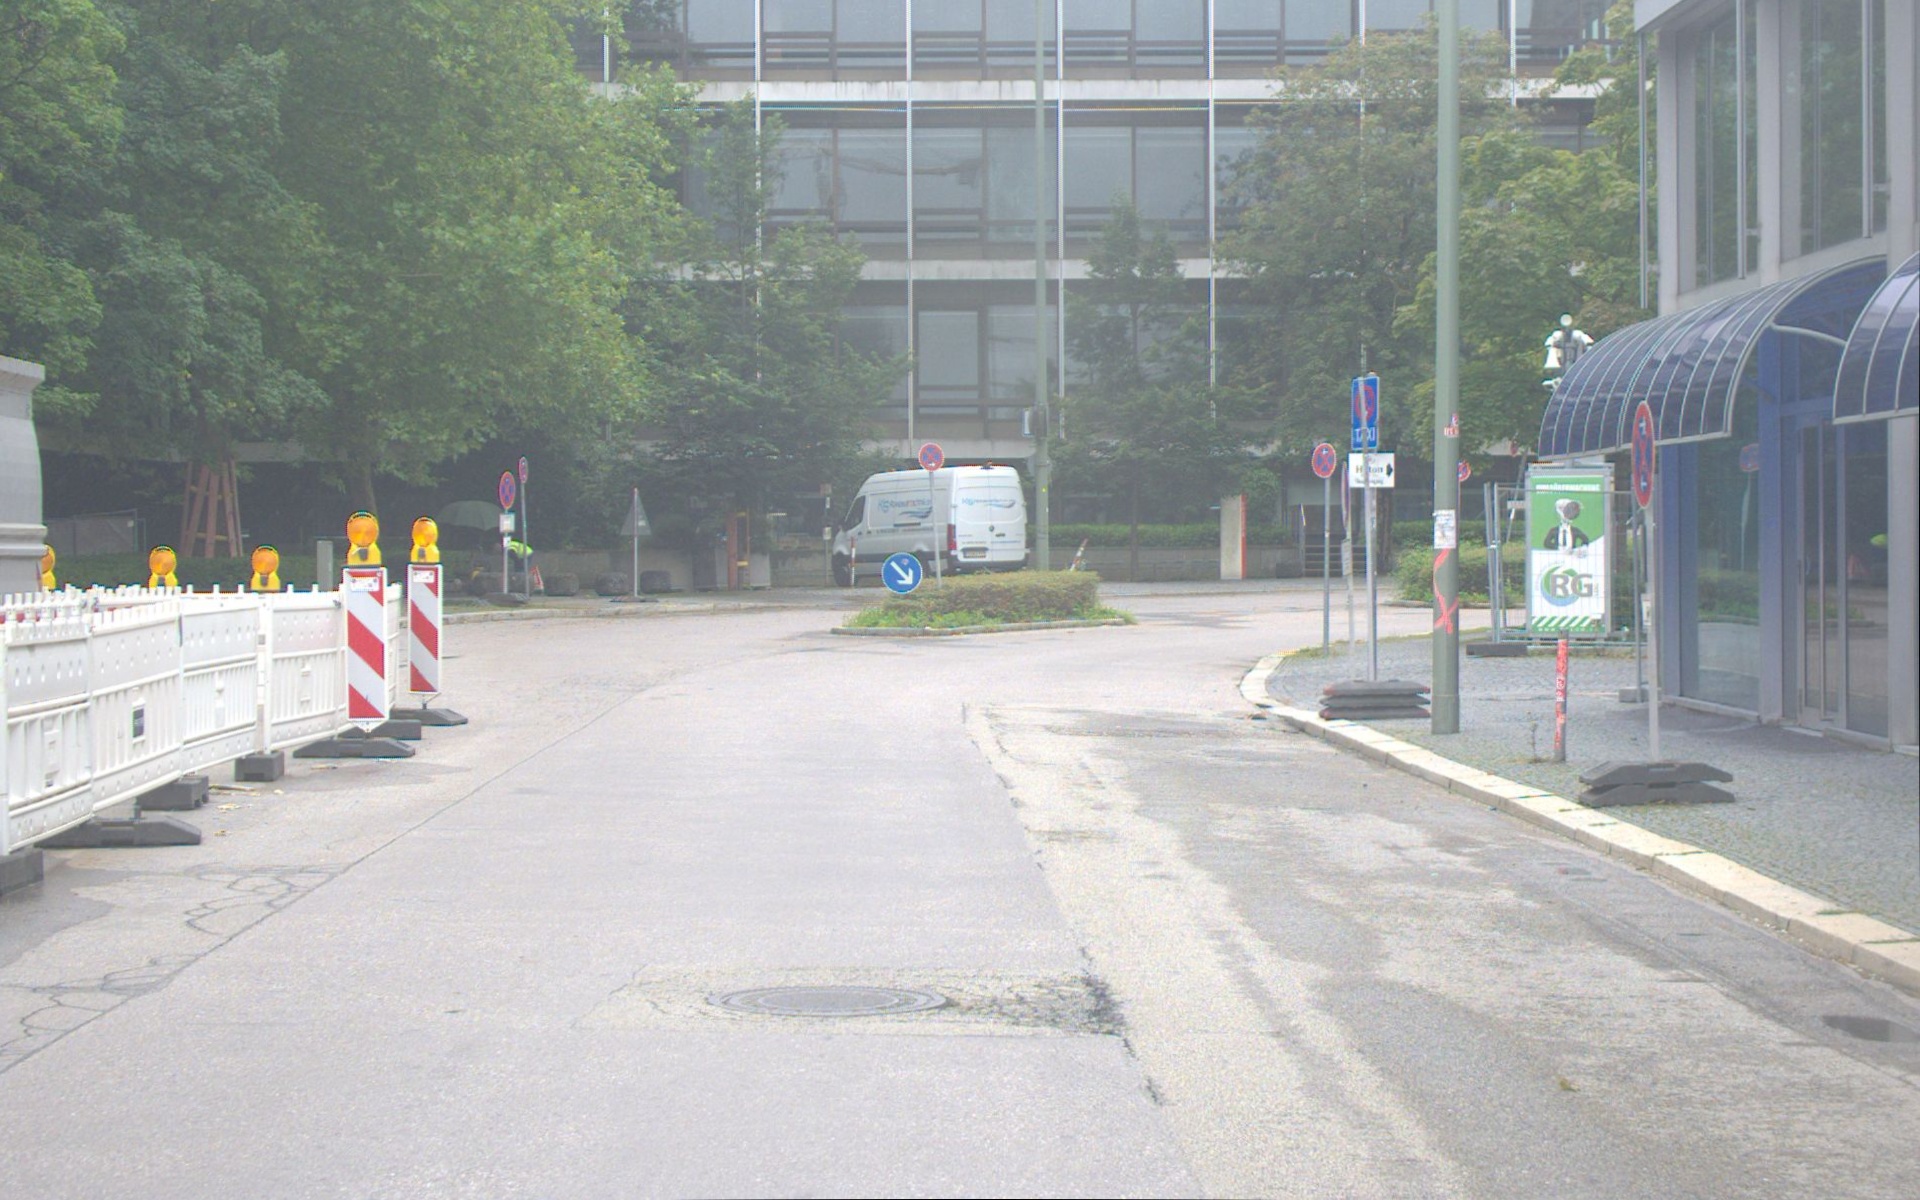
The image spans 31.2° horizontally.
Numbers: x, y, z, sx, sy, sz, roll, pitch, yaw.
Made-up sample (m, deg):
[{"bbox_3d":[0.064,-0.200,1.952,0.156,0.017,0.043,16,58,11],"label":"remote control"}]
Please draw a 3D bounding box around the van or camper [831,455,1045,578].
[{"bbox_3d":[-0.579,-1.832,77.357,2.155,2.572,6.540,0,0,-26],"label":"van or camper"}]

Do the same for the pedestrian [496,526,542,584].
[{"bbox_3d":[-9.636,-0.987,75.158,0.926,1.273,0.542,0,1,1],"label":"pedestrian"}]

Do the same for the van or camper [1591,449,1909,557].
[{"bbox_3d":[17.108,-2.111,74.507,6.396,2.273,2.256,-1,2,-14],"label":"van or camper"}]
